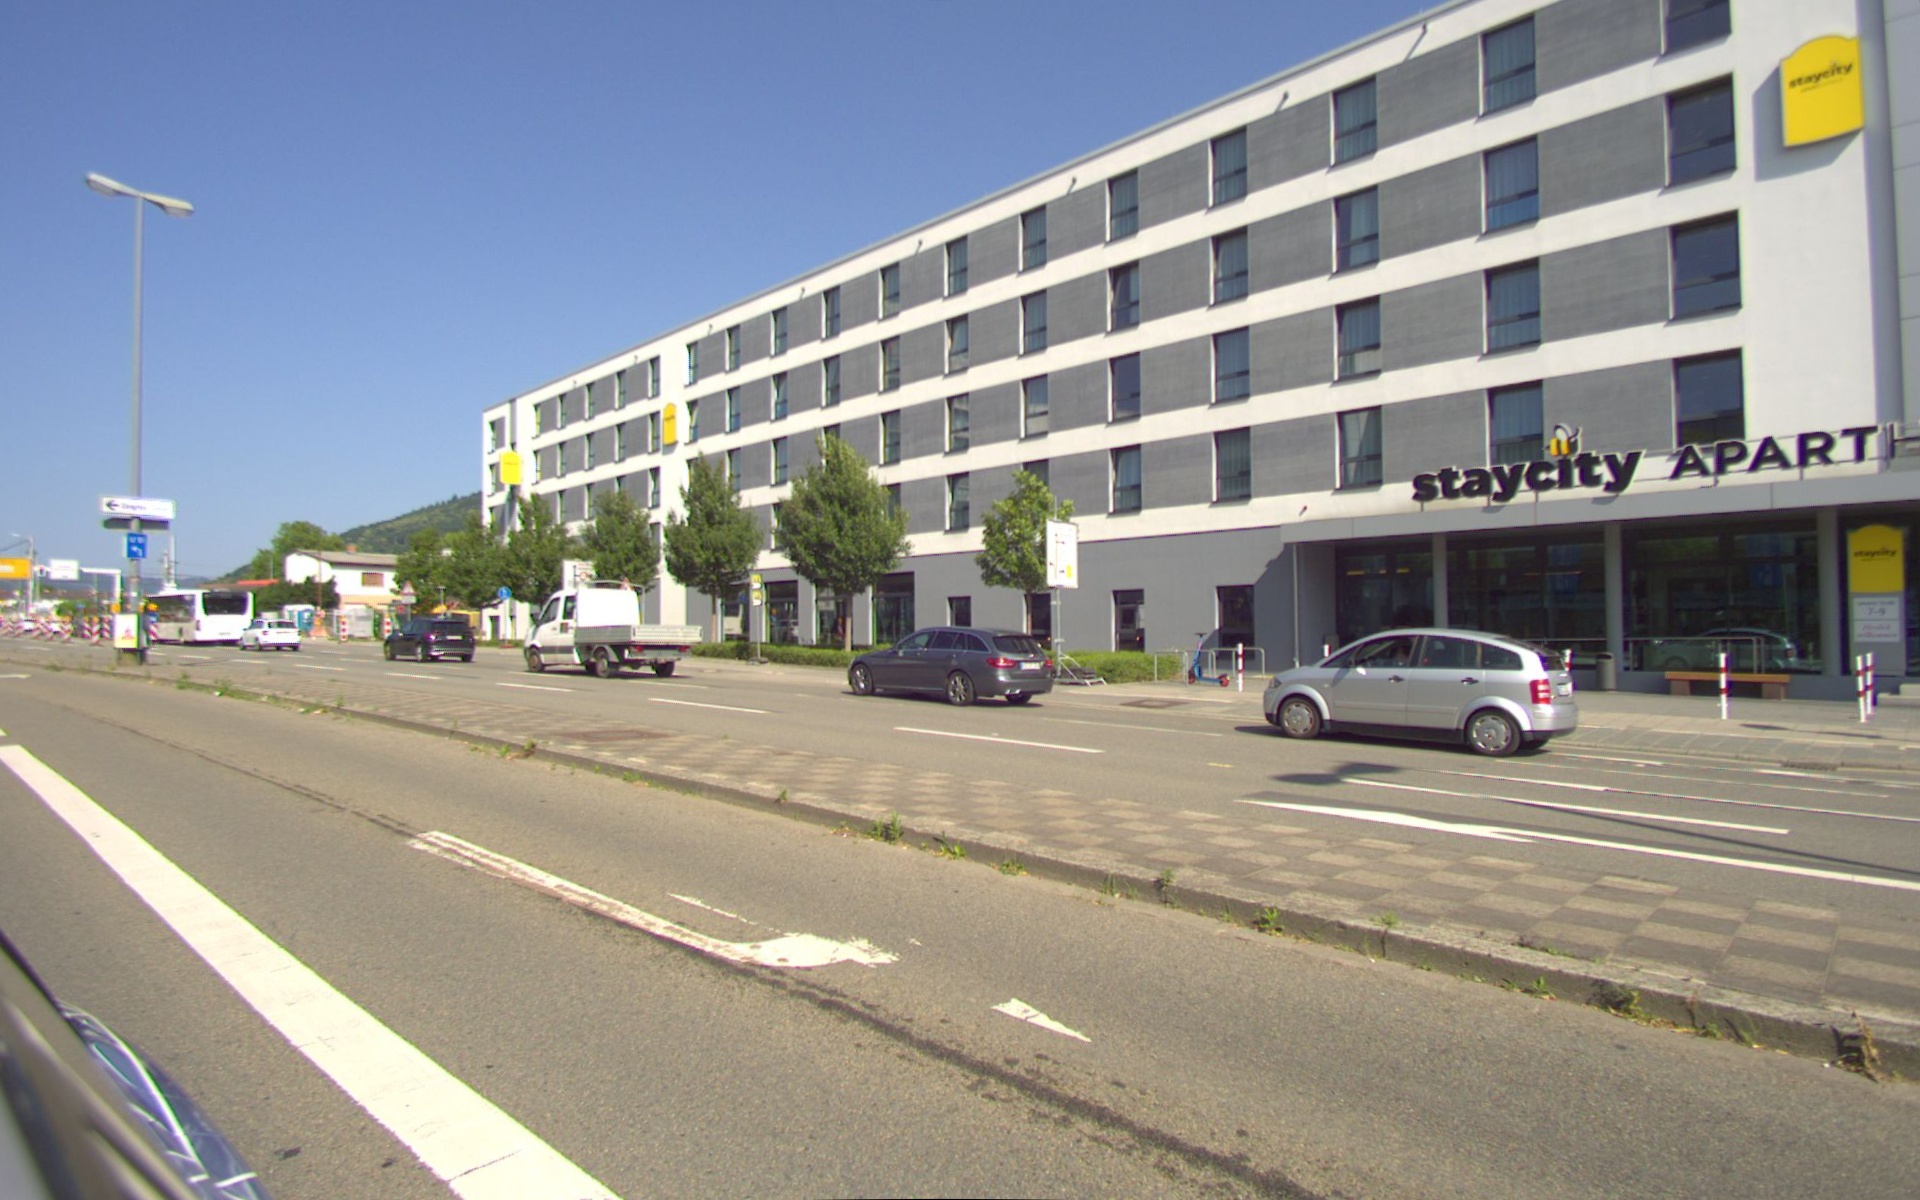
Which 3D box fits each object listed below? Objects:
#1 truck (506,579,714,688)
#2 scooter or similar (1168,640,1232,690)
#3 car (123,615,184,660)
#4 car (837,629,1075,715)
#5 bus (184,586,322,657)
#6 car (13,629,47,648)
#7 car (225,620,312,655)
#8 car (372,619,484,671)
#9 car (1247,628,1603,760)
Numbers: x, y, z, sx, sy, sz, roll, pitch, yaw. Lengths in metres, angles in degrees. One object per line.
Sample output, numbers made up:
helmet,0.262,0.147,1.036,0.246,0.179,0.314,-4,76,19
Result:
truck,-9.614,0.837,27.410,6.436,2.564,2.332,1,-5,42
scooter or similar,5.653,1.518,23.906,0.347,1.121,1.519,1,-1,-45
car,-38.838,1.770,48.726,4.164,2.029,1.657,0,0,42
car,-0.186,1.315,19.635,4.587,1.438,1.933,-1,-3,45
bus,-34.831,1.078,49.588,11.971,3.102,2.709,-1,-3,42
car,-86.247,3.550,93.823,3.586,1.631,1.698,-1,-1,37
car,-32.082,1.733,46.915,4.405,1.497,1.975,0,-4,37
car,-18.680,1.527,35.473,4.409,1.590,1.973,0,0,40
car,5.992,1.134,13.300,3.915,1.449,1.753,-1,-4,43
